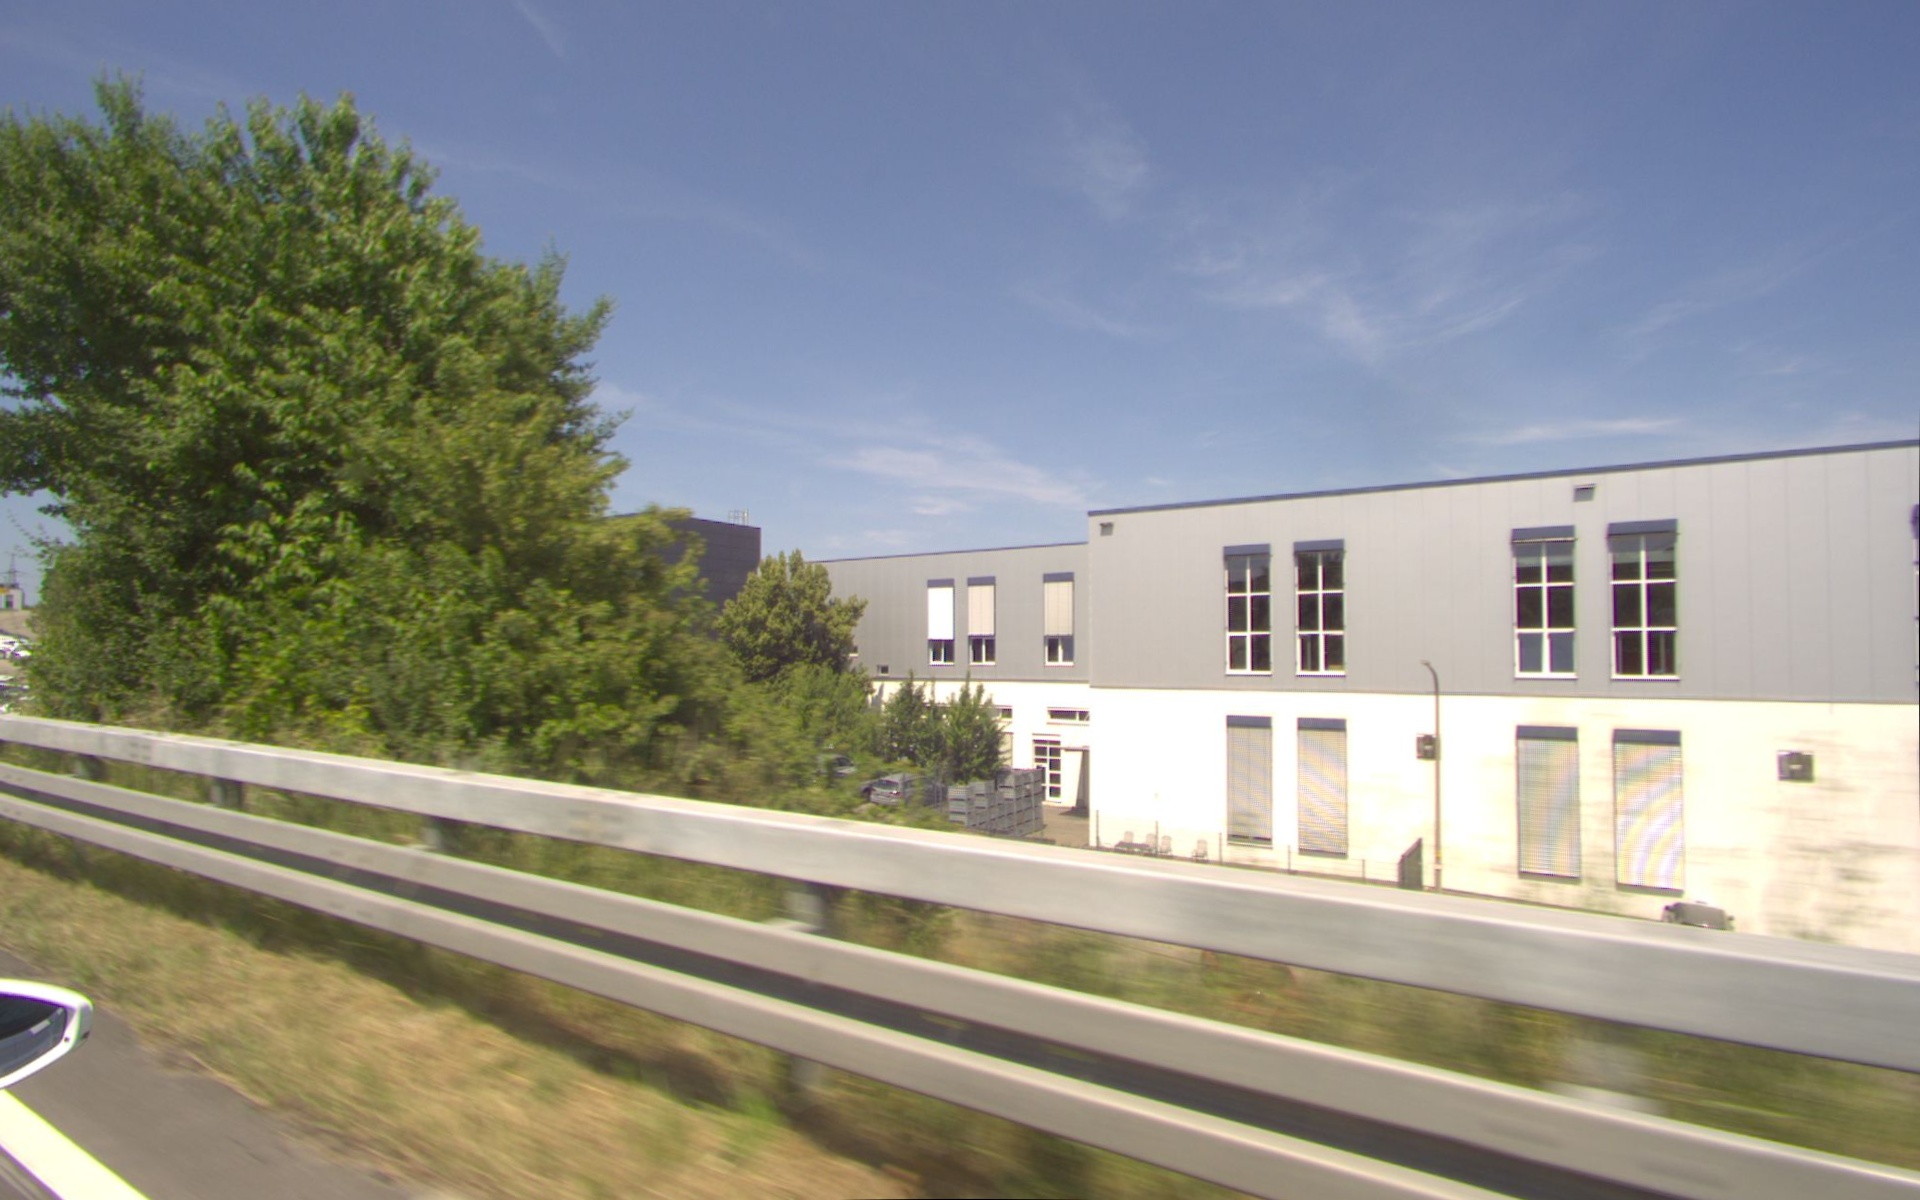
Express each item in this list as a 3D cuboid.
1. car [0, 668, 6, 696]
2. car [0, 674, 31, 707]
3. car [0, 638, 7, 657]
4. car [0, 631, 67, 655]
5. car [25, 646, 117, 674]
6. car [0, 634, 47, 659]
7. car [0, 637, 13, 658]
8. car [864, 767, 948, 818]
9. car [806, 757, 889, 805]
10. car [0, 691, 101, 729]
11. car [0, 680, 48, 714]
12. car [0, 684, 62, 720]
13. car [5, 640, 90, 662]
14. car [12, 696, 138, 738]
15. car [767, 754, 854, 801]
[{"bbox_3d":[-56.916,4.420,56.286,4.324,1.576,1.878,10,-6,-31],"label":"car"},{"bbox_3d":[-52.829,4.651,53.447,4.324,1.576,1.852,10,-6,-31],"label":"car"},{"bbox_3d":[-87.089,3.945,87.848,4.527,1.646,1.812,9,-6,-29],"label":"car"},{"bbox_3d":[-72.942,3.350,78.057,4.517,1.540,1.812,5,0,-25],"label":"car"},{"bbox_3d":[-63.243,4.266,71.338,4.524,1.650,1.810,4,0,-30],"label":"car"},{"bbox_3d":[-76.216,3.590,79.855,4.527,1.646,1.812,9,-6,-29],"label":"car"},{"bbox_3d":[-84.792,3.846,85.996,4.527,1.646,1.812,9,-6,-29],"label":"car"},{"bbox_3d":[-2.466,8.909,46.632,1.884,1.593,4.032,3,0,32],"label":"car"},{"bbox_3d":[-5.416,8.729,48.539,1.884,1.593,4.032,3,0,32],"label":"car"},{"bbox_3d":[-44.938,5.333,48.746,4.320,1.410,1.811,9,-6,-28],"label":"car"},{"bbox_3d":[-50.332,4.888,51.754,4.324,1.472,1.809,10,-6,-31],"label":"car"},{"bbox_3d":[-48.207,4.998,50.154,4.320,1.472,1.811,9,-6,-28],"label":"car"},{"bbox_3d":[-69.959,3.905,76.841,4.522,1.498,1.810,2,2,-30],"label":"car"},{"bbox_3d":[-41.867,5.567,47.505,4.077,1.535,1.670,10,-6,-32],"label":"car"},{"bbox_3d":[-7.446,8.878,50.279,1.794,1.593,4.565,3,0,32],"label":"car"}]
